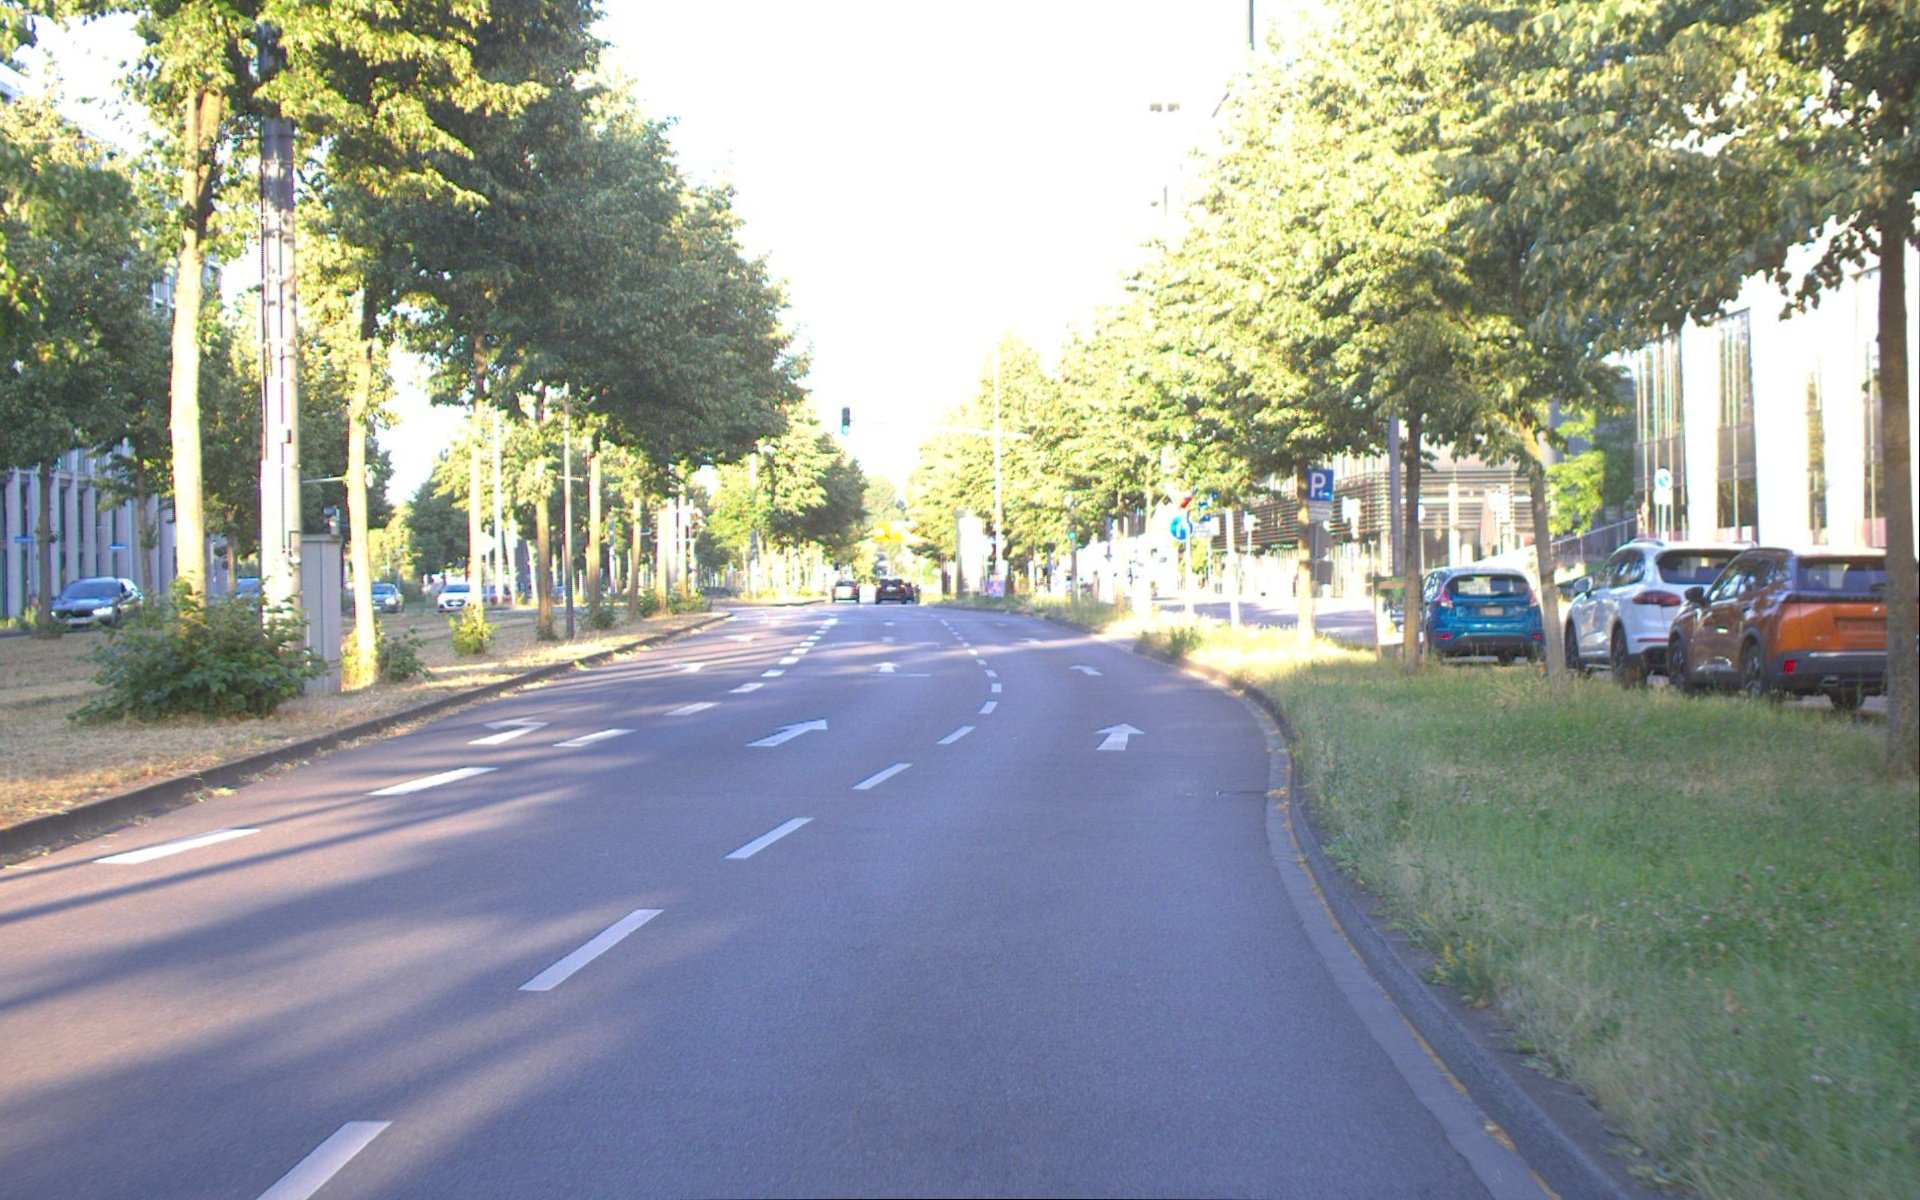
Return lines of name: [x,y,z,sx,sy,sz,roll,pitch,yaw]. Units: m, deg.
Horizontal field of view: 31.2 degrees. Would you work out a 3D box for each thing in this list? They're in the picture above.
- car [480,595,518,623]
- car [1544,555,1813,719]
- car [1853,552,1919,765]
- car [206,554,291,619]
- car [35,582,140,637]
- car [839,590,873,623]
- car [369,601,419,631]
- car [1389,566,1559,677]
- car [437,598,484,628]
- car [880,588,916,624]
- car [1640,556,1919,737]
car: [-26.131,0.503,194.755,1.728,1.584,3.515,-1,0,-1]
car: [8.020,0.384,38.838,1.951,1.708,5.158,1,0,0]
car: [8.002,0.434,24.191,1.943,1.543,4.812,0,0,-3]
car: [-22.982,-0.436,111.130,1.993,2.007,4.000,-1,0,-2]
car: [-22.095,0.219,87.221,1.657,1.327,4.742,-1,0,-3]
car: [-6.462,0.415,213.996,2.087,2.007,4.000,-1,0,-2]
car: [-25.333,0.706,153.995,1.657,1.327,4.585,-1,0,-3]
car: [7.451,0.295,50.156,1.724,1.524,4.268,1,0,-1]
car: [-23.061,0.596,158.702,1.786,1.327,3.672,-1,0,-3]
car: [-3.580,0.347,198.355,1.993,2.007,4.000,-1,0,-2]
car: [7.644,0.389,31.427,1.854,1.524,4.483,1,0,-1]
